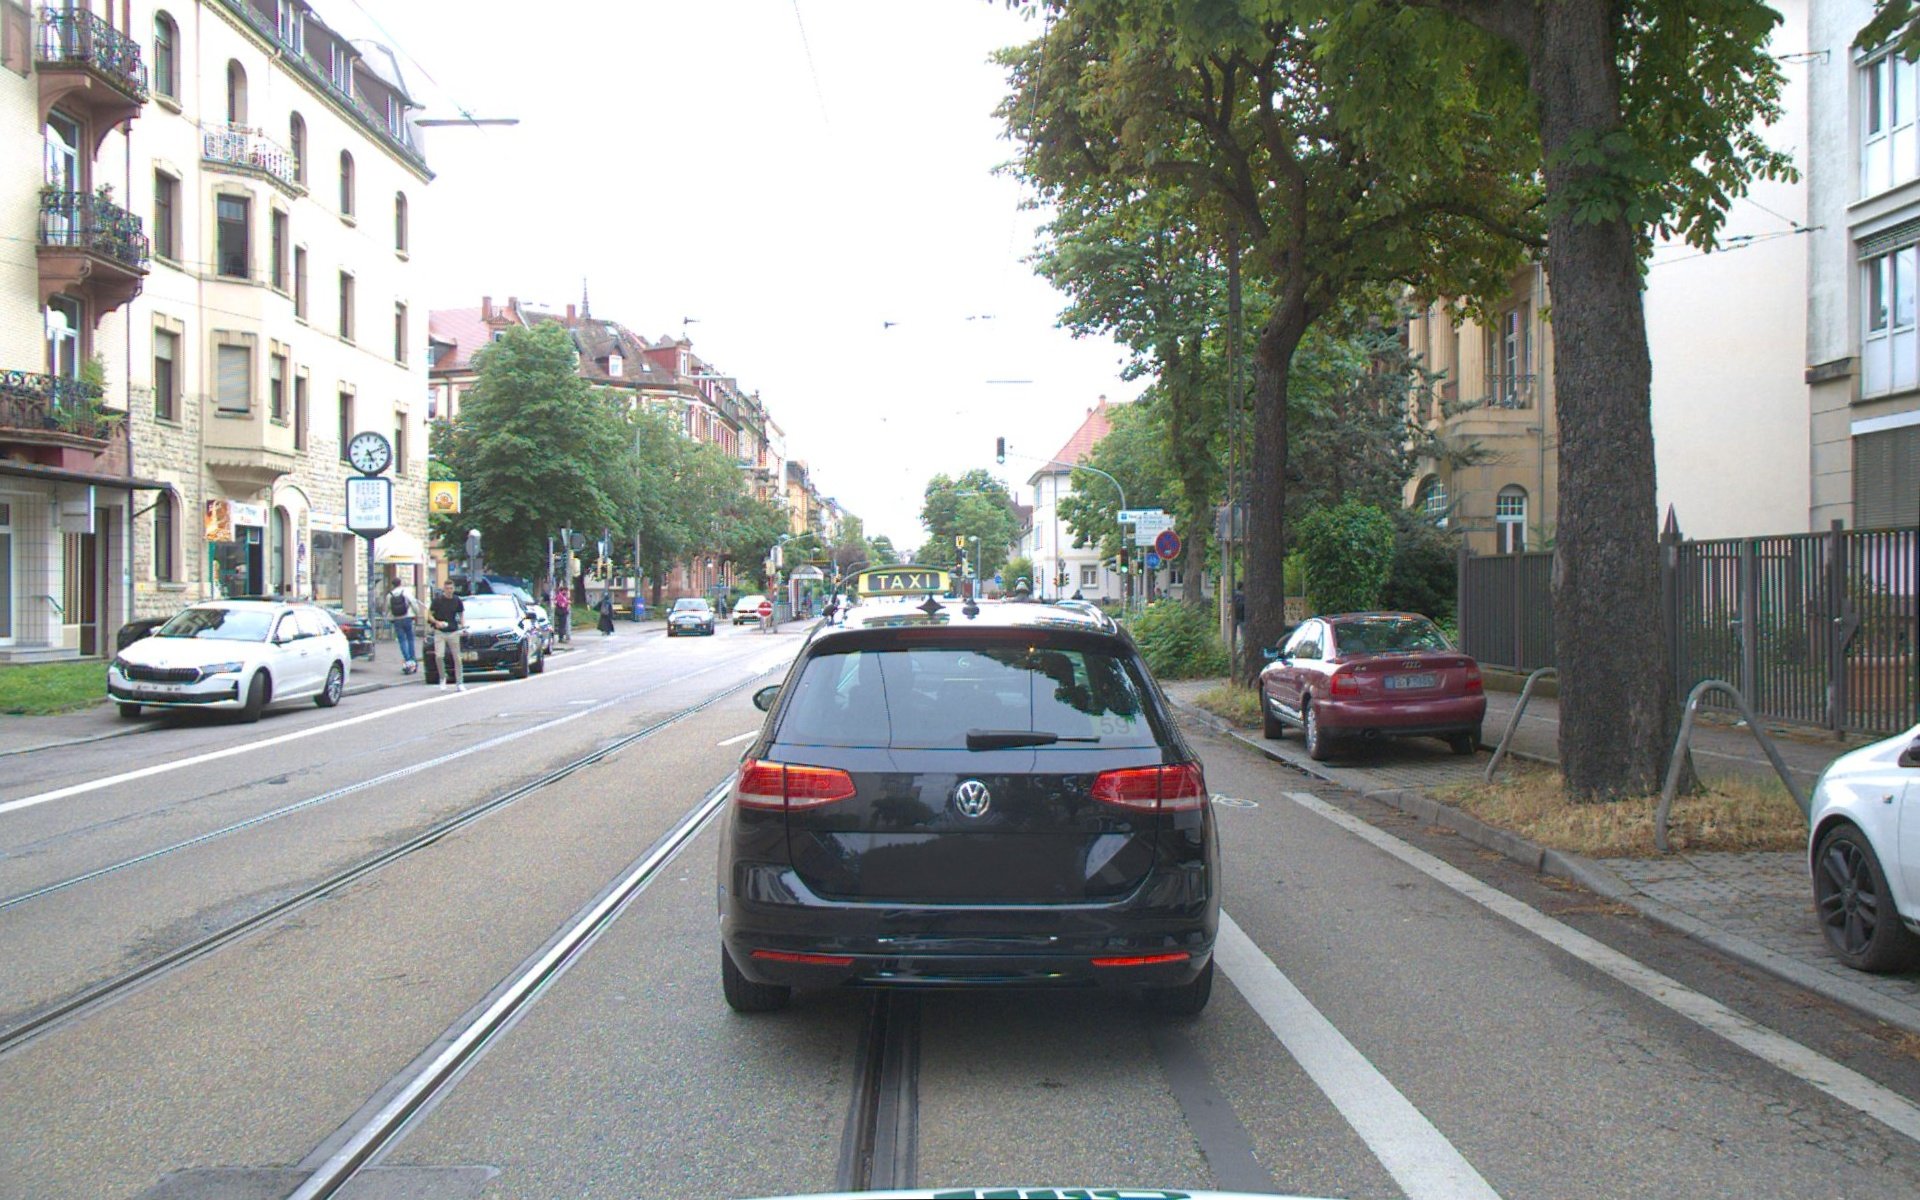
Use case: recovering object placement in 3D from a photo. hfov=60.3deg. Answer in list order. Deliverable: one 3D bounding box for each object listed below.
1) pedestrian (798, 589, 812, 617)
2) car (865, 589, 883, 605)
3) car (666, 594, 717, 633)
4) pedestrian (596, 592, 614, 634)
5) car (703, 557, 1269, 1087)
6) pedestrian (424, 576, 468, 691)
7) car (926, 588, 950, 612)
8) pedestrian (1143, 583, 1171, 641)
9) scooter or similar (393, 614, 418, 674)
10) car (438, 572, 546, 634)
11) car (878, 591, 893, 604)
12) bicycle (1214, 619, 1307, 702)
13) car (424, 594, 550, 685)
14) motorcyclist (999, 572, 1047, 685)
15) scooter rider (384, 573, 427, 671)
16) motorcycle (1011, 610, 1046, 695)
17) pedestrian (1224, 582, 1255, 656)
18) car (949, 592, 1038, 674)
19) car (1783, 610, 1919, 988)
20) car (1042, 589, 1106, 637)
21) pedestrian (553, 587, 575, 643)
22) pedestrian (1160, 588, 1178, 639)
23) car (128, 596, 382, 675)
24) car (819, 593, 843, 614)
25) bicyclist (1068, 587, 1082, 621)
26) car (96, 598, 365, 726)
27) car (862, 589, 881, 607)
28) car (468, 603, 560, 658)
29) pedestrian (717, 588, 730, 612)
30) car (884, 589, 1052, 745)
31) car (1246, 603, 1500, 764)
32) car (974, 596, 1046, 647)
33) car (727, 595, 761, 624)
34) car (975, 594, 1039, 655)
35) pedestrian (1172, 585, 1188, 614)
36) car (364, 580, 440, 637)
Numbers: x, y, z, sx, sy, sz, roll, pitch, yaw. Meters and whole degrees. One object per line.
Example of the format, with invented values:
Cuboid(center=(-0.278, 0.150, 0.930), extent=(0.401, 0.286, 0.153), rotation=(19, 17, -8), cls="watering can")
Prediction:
Cuboid(center=(-8.619, 0.189, 92.228), extent=(0.699, 1.547, 0.590), rotation=(0, 0, 1), cls="pedestrian")
Cuboid(center=(-8.854, -0.296, 171.078), extent=(1.686, 1.651, 3.862), rotation=(-1, 0, -1), cls="car")
Cuboid(center=(-10.369, 0.499, 63.975), extent=(1.576, 1.447, 3.484), rotation=(-2, 0, -4), cls="car")
Cuboid(center=(-14.277, 0.510, 66.525), extent=(0.577, 1.692, 0.839), rotation=(0, 0, -2), cls="pedestrian")
Cuboid(center=(0.054, 0.649, 6.936), extent=(1.688, 1.573, 3.999), rotation=(0, 0, -1), cls="car")
Cuboid(center=(-8.611, 0.546, 27.721), extent=(0.657, 1.876, 0.878), rotation=(-1, 0, -18), cls="pedestrian")
Cuboid(center=(-1.908, -0.015, 143.612), extent=(1.991, 2.049, 3.999), rotation=(1, 0, -1), cls="car")
Cuboid(center=(6.455, 0.395, 54.231), extent=(0.581, 1.862, 0.596), rotation=(-3, 0, -37), cls="pedestrian")
Cuboid(center=(-11.817, 0.932, 35.257), extent=(0.226, 1.256, 0.953), rotation=(-1, 0, -1), cls="scooter or similar")
Cuboid(center=(-19.513, 0.110, 68.873), extent=(2.168, 2.460, 5.295), rotation=(0, 0, -43), cls="car")
Cuboid(center=(-8.534, -0.331, 189.409), extent=(1.686, 1.490, 3.862), rotation=(-1, 0, -1), cls="car")
Cuboid(center=(4.591, 0.901, 25.216), extent=(0.426, 1.219, 1.891), rotation=(0, -1, 44), cls="bicycle")
Cuboid(center=(-9.632, 0.752, 34.032), extent=(1.849, 1.639, 4.876), rotation=(-3, 0, -9), cls="car")
Cuboid(center=(0.982, 0.427, 25.729), extent=(0.688, 1.722, 0.804), rotation=(-1, 0, -1), cls="motorcyclist")
Cuboid(center=(-11.813, 0.458, 35.249), extent=(0.629, 2.049, 0.757), rotation=(-1, 0, -1), cls="scooter rider")
Cuboid(center=(1.051, 0.789, 25.657), extent=(0.437, 1.257, 1.906), rotation=(-1, 0, -1), cls="motorcycle")
Cuboid(center=(7.044, 0.466, 41.672), extent=(0.619, 1.846, 0.726), rotation=(0, 0, -3), cls="pedestrian")
Cuboid(center=(0.625, 0.617, 33.814), extent=(1.688, 1.573, 3.999), rotation=(0, 0, -1), cls="car")
Cuboid(center=(4.554, 0.778, 5.641), extent=(1.569, 1.460, 3.776), rotation=(-2, 0, 0), cls="car")
Cuboid(center=(4.011, 0.456, 58.682), extent=(1.953, 1.605, 3.999), rotation=(1, 0, -1), cls="car")
Cuboid(center=(-13.206, 0.492, 55.199), extent=(0.610, 1.875, 0.609), rotation=(0, 0, -3), cls="pedestrian")
Cuboid(center=(7.864, 0.498, 62.215), extent=(0.503, 1.862, 0.418), rotation=(-3, 0, 15), cls="pedestrian")
Cuboid(center=(-14.317, 0.707, 33.782), extent=(4.339, 1.394, 1.878), rotation=(2, 0, -6), cls="car")
Cuboid(center=(-10.349, 0.275, 132.735), extent=(1.686, 1.651, 3.862), rotation=(-1, 0, -1), cls="car")
Cuboid(center=(5.549, 0.186, 79.672), extent=(0.637, 1.596, 0.696), rotation=(-1, 0, 6), cls="bicyclist")
Cuboid(center=(-9.704, 0.749, 22.428), extent=(1.712, 1.510, 4.607), rotation=(-1, 0, -2), cls="car")
Cuboid(center=(-8.361, -0.209, 156.243), extent=(1.686, 1.651, 3.862), rotation=(-1, 0, -1), cls="car")
Cuboid(center=(-12.486, 0.819, 46.538), extent=(1.616, 1.385, 4.127), rotation=(2, 0, -3), cls="car")
Cuboid(center=(-15.160, 0.008, 105.986), extent=(0.577, 1.547, 0.647), rotation=(0, 0, 34), cls="pedestrian")
Cuboid(center=(0.052, 0.666, 18.651), extent=(1.688, 1.573, 3.999), rotation=(0, 0, -1), cls="car")
Cuboid(center=(4.265, 0.790, 17.725), extent=(1.569, 1.423, 4.226), rotation=(-2, 0, -1), cls="car")
Cuboid(center=(1.525, 0.608, 49.072), extent=(1.852, 1.432, 4.003), rotation=(-1, 0, 5), cls="car")
Cuboid(center=(-11.590, 0.491, 88.862), extent=(1.666, 1.522, 3.925), rotation=(-2, 0, -6), cls="car")
Cuboid(center=(1.248, 0.653, 45.022), extent=(1.574, 1.583, 3.577), rotation=(1, 0, -1), cls="car")
Cuboid(center=(11.718, -0.033, 88.069), extent=(0.604, 1.581, 0.575), rotation=(0, 0, -40), cls="pedestrian")
Cuboid(center=(-26.123, 0.360, 77.351), extent=(2.158, 2.571, 5.320), rotation=(0, 0, -32), cls="car")
